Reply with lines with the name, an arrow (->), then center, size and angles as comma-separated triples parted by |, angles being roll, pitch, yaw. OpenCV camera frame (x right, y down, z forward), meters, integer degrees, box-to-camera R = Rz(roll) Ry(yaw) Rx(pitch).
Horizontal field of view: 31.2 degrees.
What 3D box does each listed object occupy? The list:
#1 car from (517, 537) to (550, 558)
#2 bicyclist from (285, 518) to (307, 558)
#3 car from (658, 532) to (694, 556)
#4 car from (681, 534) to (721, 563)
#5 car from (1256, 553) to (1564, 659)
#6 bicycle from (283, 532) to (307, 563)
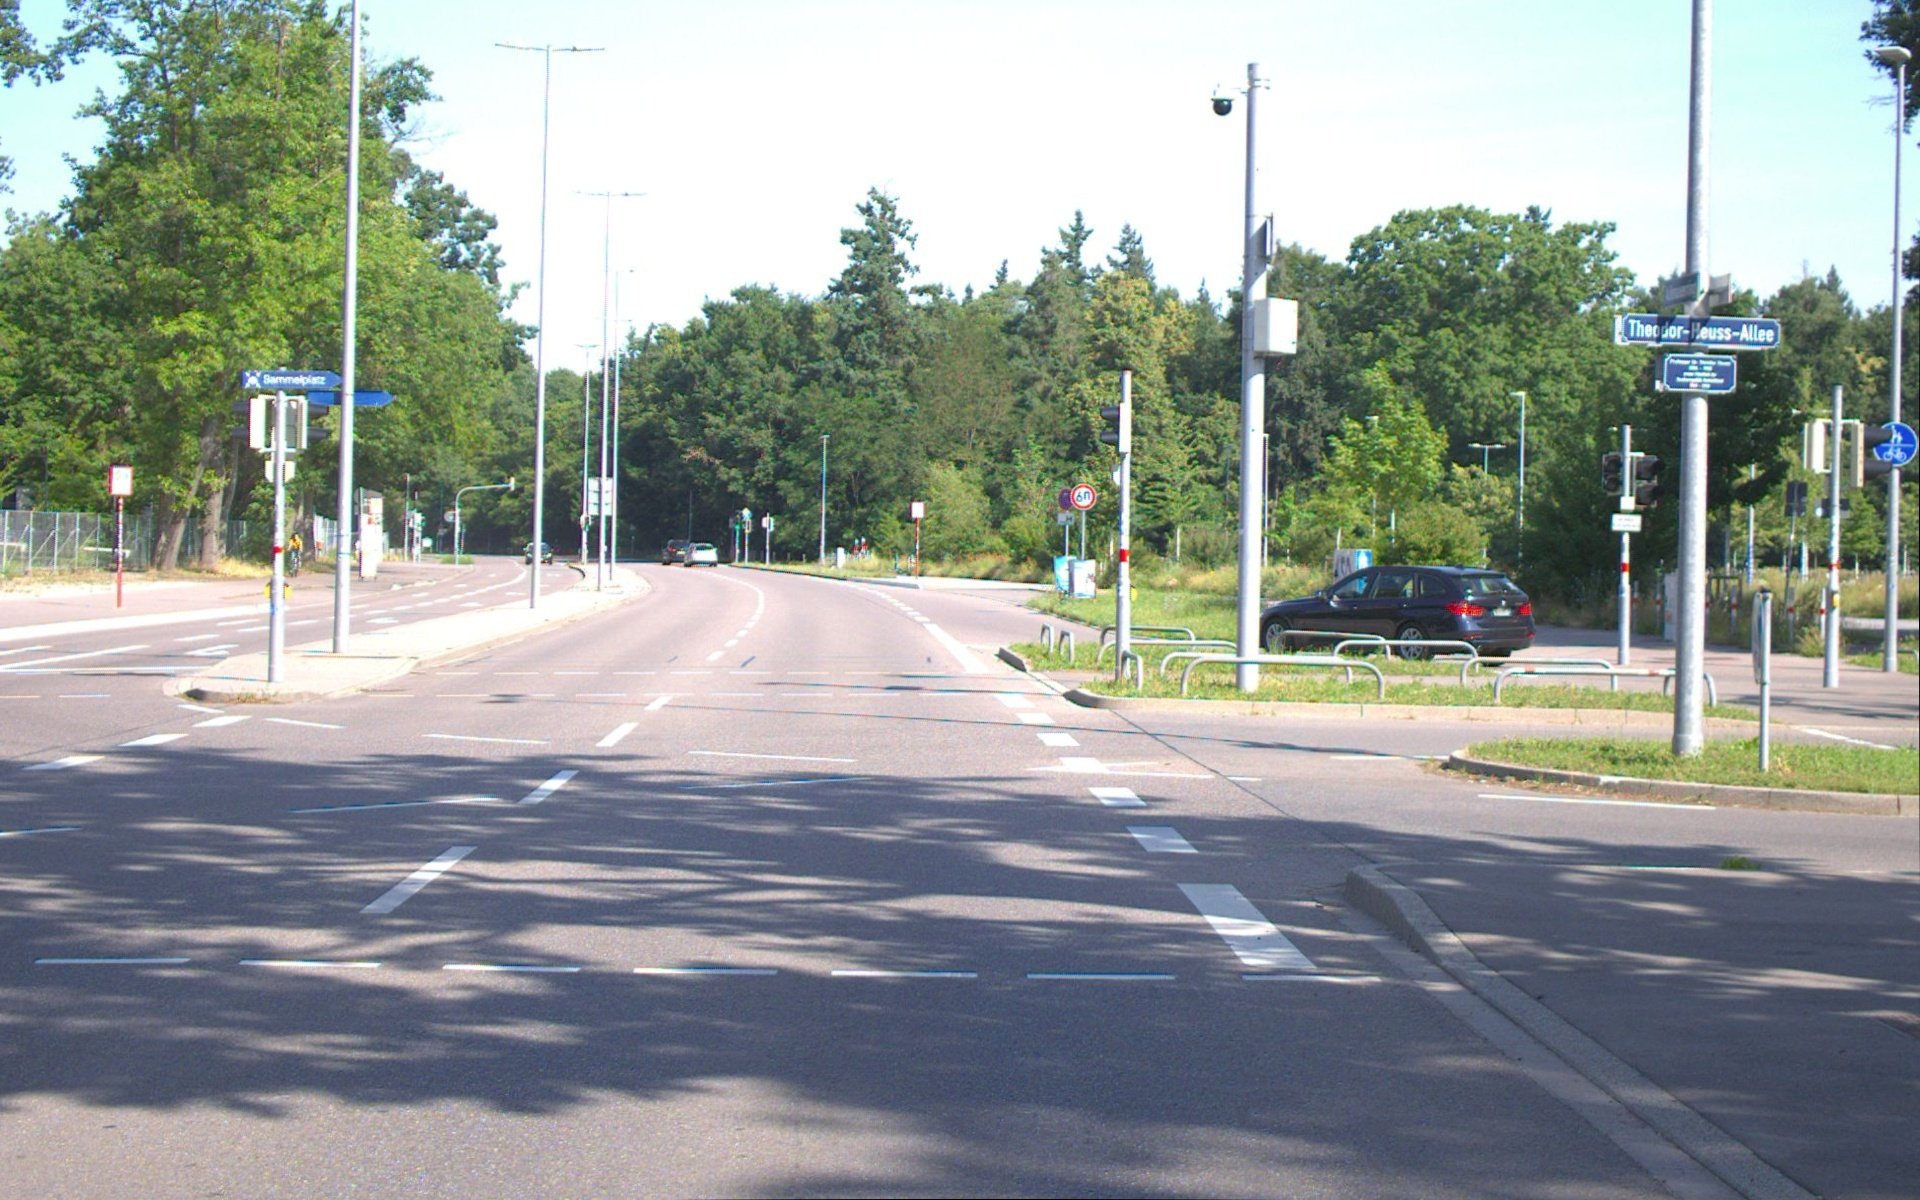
car -> -29.431, -3.602, 237.193 | 1.810, 1.383, 4.163 | -1, 1, -13
bicyclist -> -24.787, -2.333, 128.361 | 0.659, 1.462, 1.057 | 2, 1, -6
car -> -19.036, -3.760, 230.302 | 1.993, 1.590, 4.001 | 1, 1, -11
car -> -16.167, -3.212, 214.555 | 1.993, 1.744, 4.001 | 1, 1, -11
car -> 6.533, 0.063, 50.247 | 1.941, 1.415, 4.292 | 0, 1, -39
bicycle -> -24.825, -1.964, 128.354 | 0.659, 1.132, 1.879 | 2, 1, -6
